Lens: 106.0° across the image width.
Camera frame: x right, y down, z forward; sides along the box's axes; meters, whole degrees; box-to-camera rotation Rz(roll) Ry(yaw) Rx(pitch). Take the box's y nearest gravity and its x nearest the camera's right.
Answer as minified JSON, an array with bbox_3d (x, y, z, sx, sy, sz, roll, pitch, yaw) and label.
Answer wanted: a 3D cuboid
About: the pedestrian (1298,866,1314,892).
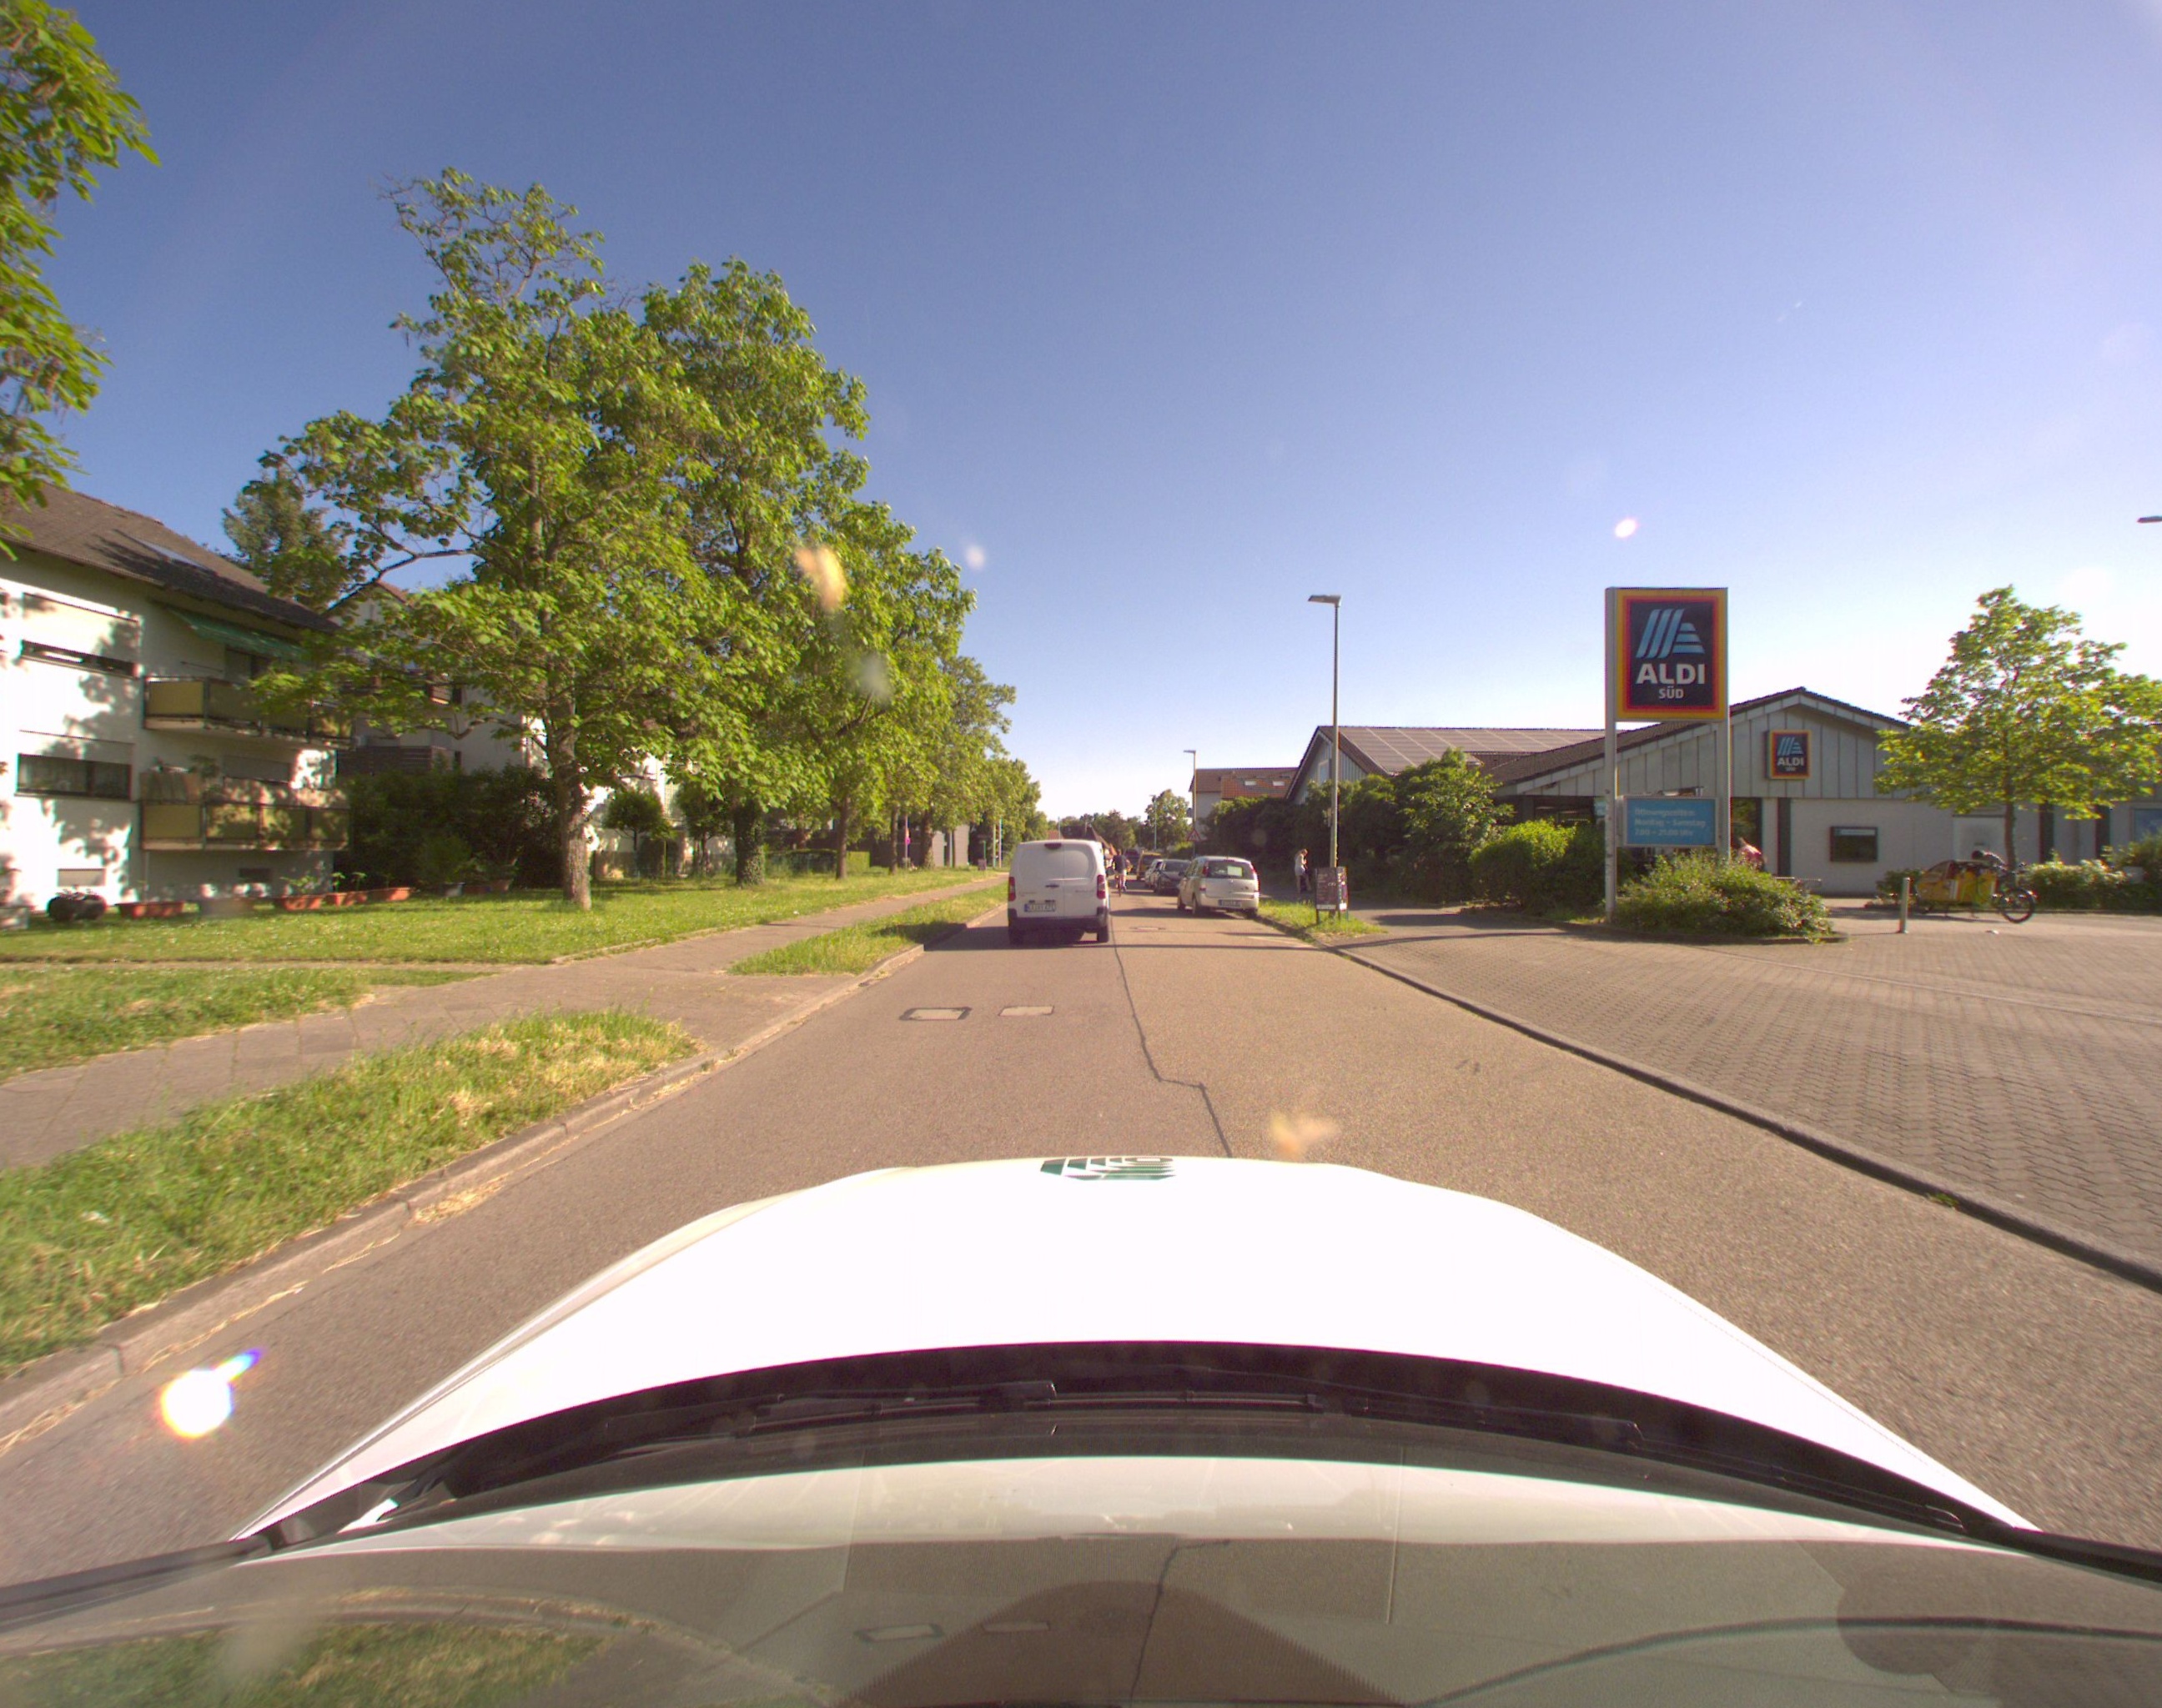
[{"bbox_3d":[8.886,0.979,32.191,0.529,0.980,0.812,1,-1,9],"label":"pedestrian"}]

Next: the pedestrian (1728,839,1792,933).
[{"bbox_3d":[12.182,0.550,14.635,0.685,1.631,0.781,0,0,22],"label":"pedestrian"}]

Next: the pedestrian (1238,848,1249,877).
[{"bbox_3d":[9.187,0.475,46.026,0.564,1.637,0.547,0,0,6],"label":"pedestrian"}]

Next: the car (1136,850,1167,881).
[{"bbox_3d":[4.393,0.710,51.342,1.717,1.837,4.002,1,-1,2],"label":"car"}]

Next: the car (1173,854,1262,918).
[{"bbox_3d":[3.694,0.838,22.658,1.675,1.599,4.024,1,-1,-2],"label":"car"}]

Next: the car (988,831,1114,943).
[{"bbox_3d":[-0.422,0.548,15.806,1.985,1.882,4.293,0,0,4],"label":"car"}]

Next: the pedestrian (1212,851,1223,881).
[{"bbox_3d":[7.401,0.653,44.051,0.564,1.637,0.547,0,0,6],"label":"pedestrian"}]

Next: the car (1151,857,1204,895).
[{"bbox_3d":[3.926,0.856,33.733,1.801,1.443,4.365,1,0,2],"label":"car"}]

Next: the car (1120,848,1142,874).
[{"bbox_3d":[5.195,0.780,85.330,1.860,2.562,4.766,2,-1,0],"label":"car"}]

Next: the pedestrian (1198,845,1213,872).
[{"bbox_3d":[8.508,0.308,55.684,0.793,1.861,0.872,1,-1,-6],"label":"pedestrian"}]

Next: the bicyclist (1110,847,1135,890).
[{"bbox_3d":[1.585,0.557,31.127,0.903,1.584,0.966,1,-1,0],"label":"bicyclist"}]

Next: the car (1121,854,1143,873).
[{"bbox_3d":[4.908,0.928,78.159,1.798,1.785,3.999,2,-1,0],"label":"car"}]

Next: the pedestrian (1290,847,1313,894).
[{"bbox_3d":[8.495,0.622,31.414,0.794,1.782,0.811,0,0,9],"label":"pedestrian"}]

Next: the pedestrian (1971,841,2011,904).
[{"bbox_3d":[23.801,0.476,21.315,0.781,1.618,0.685,0,0,-42],"label":"pedestrian"}]

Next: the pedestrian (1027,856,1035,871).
[{"bbox_3d":[-4.898,0.956,79.500,0.504,1.446,0.643,0,0,34],"label":"pedestrian"}]

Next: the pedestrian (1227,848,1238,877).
[{"bbox_3d":[8.568,0.490,46.101,0.564,1.637,0.547,0,0,6],"label":"pedestrian"}]

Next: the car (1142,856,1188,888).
[{"bbox_3d":[4.072,0.864,39.884,1.820,1.452,3.999,1,-1,0],"label":"car"}]

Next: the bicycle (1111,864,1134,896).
[{"bbox_3d":[1.562,0.964,31.067,0.784,1.138,2.280,0,0,1],"label":"bicycle"}]
